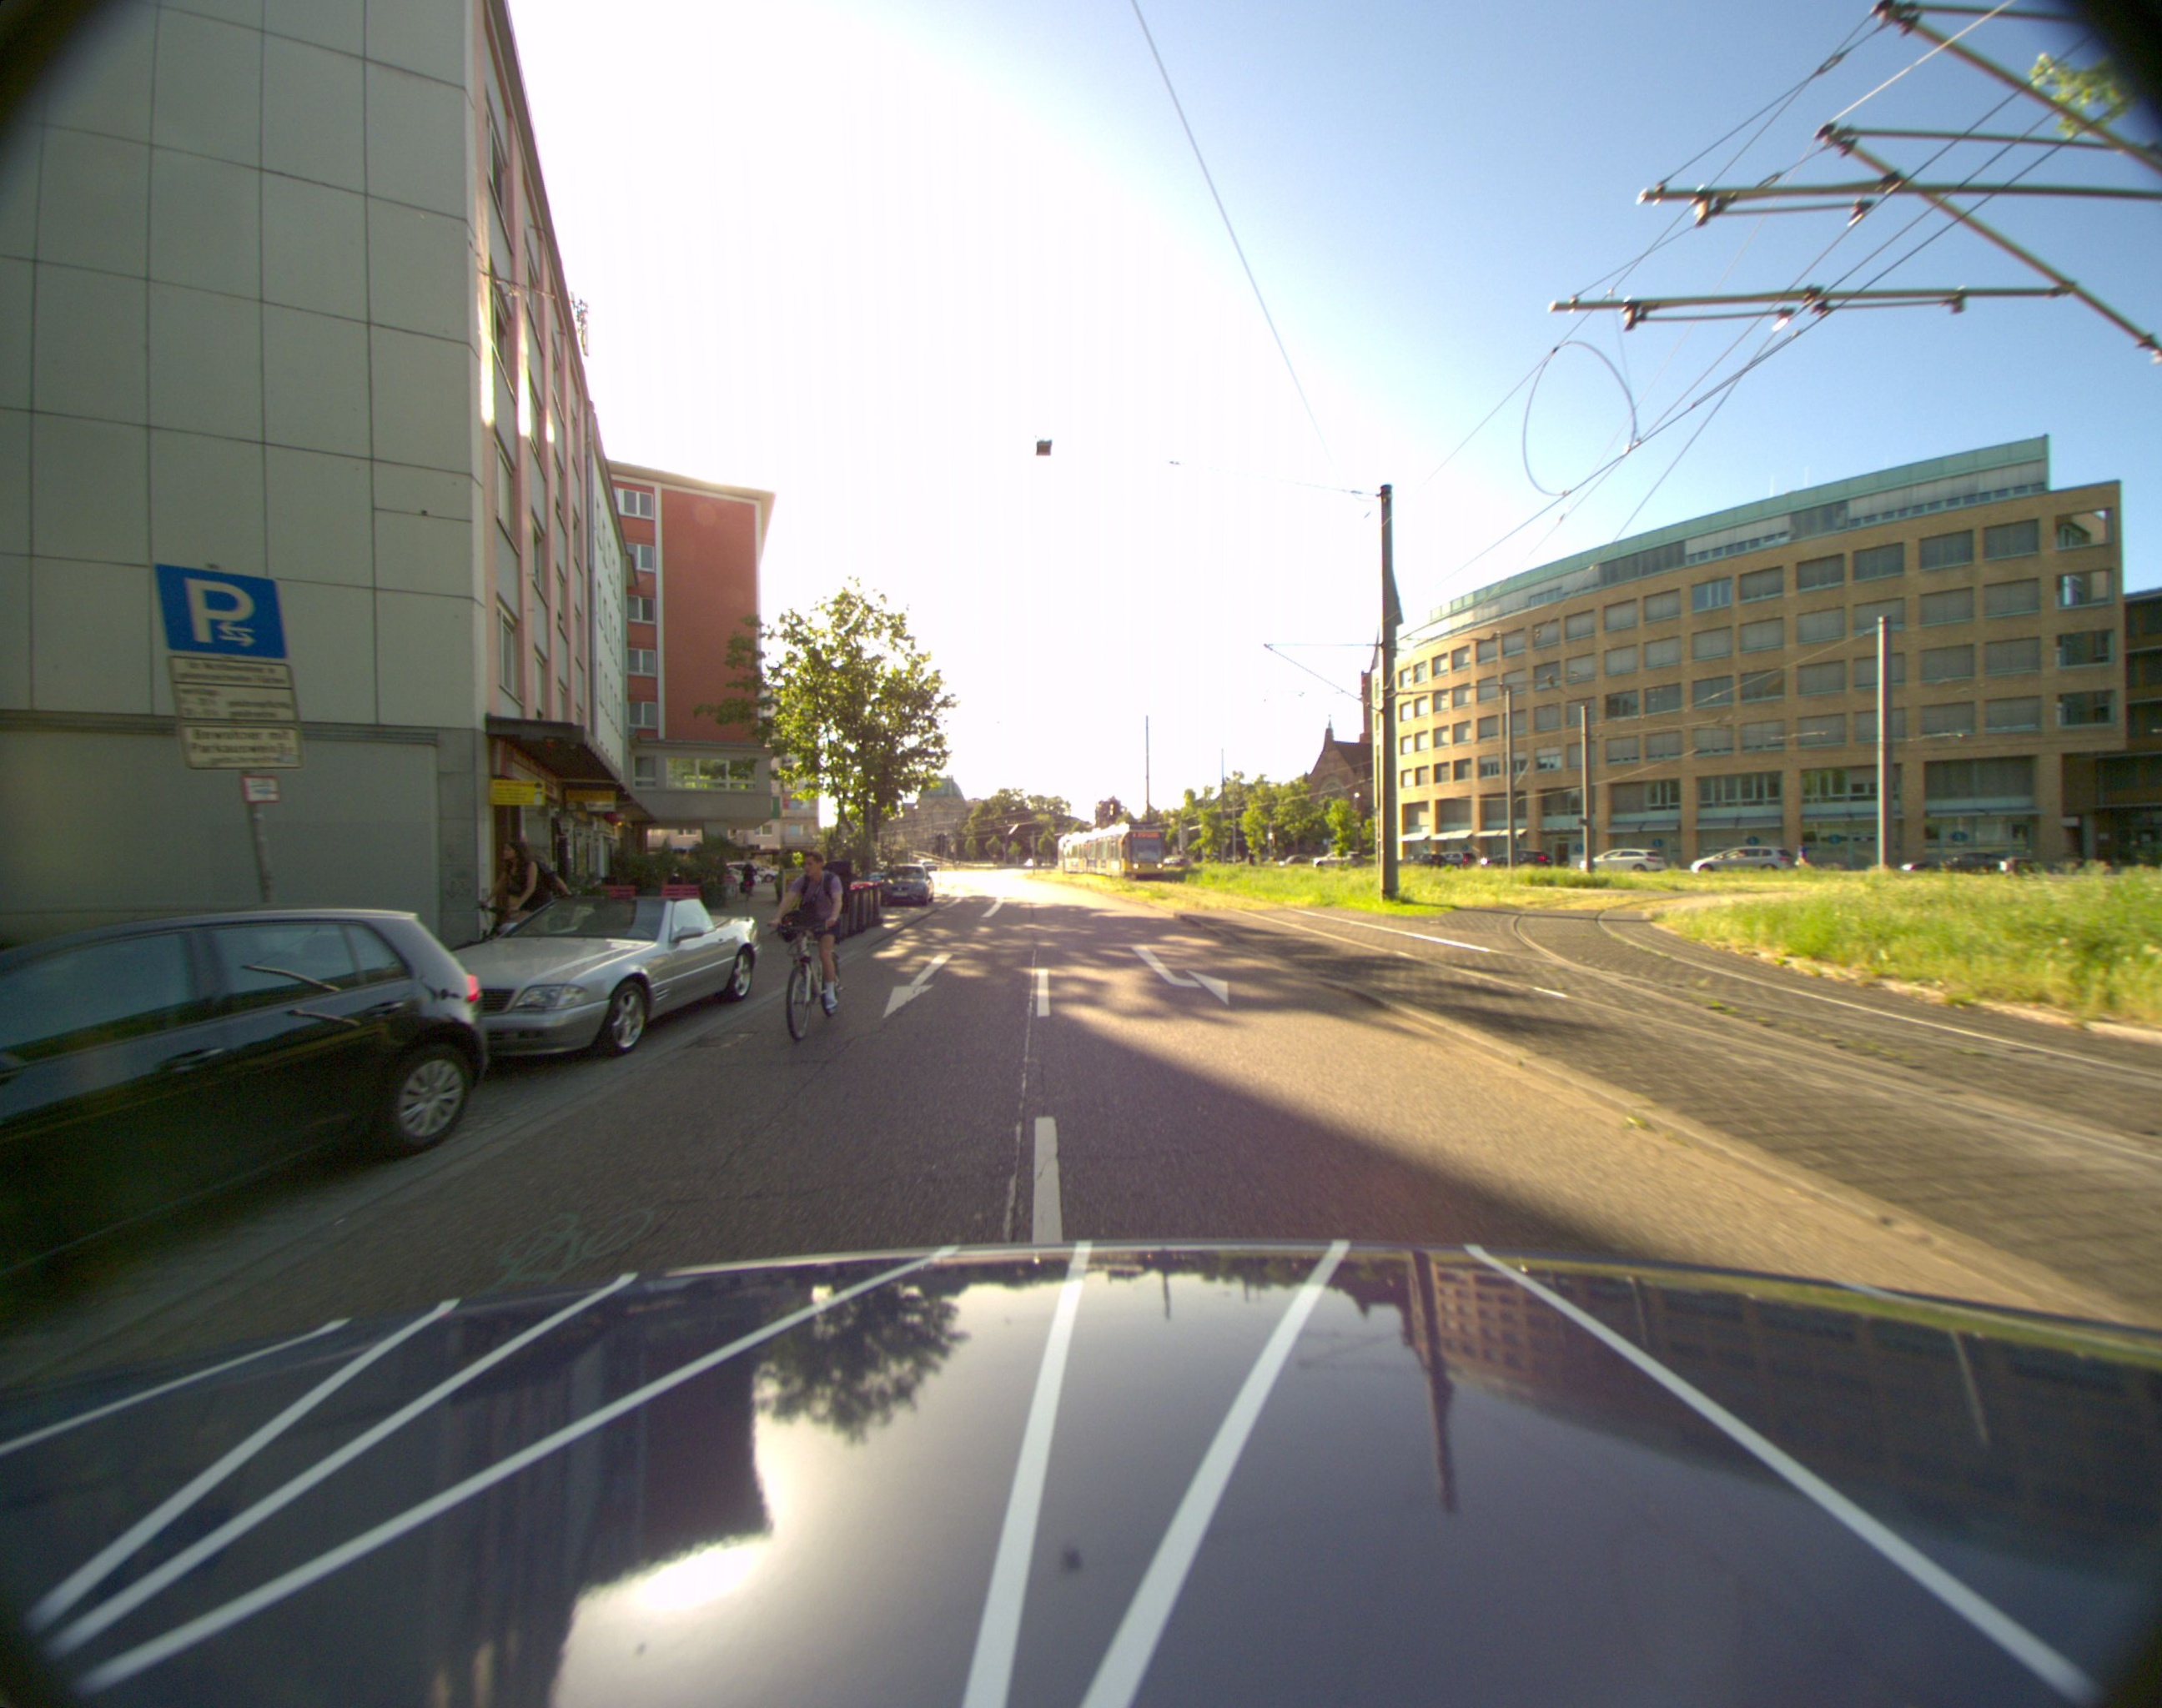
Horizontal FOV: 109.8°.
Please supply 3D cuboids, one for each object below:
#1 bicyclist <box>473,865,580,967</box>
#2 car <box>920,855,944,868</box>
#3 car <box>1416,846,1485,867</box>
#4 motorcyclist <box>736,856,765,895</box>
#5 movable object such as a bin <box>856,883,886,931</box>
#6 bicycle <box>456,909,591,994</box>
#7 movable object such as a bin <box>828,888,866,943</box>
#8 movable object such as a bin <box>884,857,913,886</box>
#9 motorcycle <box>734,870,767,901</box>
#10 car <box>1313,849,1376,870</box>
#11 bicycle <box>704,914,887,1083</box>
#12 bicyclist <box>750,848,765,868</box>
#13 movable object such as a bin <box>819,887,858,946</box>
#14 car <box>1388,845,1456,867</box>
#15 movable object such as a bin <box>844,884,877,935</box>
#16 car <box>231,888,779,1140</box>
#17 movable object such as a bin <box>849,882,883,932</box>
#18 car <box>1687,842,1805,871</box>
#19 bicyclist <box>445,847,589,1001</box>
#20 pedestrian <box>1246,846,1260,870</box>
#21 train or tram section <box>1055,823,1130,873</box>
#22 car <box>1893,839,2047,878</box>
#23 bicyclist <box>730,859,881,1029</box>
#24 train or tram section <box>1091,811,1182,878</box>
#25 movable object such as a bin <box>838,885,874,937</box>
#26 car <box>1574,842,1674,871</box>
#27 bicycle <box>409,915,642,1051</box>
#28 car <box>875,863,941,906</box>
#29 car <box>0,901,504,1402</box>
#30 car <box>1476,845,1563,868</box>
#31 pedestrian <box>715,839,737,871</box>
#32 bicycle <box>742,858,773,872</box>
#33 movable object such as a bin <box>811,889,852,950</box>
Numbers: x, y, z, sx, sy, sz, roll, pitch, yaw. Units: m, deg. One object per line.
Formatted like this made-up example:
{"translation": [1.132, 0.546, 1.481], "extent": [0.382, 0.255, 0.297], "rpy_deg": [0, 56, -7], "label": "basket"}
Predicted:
{"translation": [-7.849, 0.842, 10.812], "extent": [0.760, 1.319, 0.993], "rpy_deg": [-3, 2, -6], "label": "bicyclist"}
{"translation": [-19.939, 0.966, 101.531], "extent": [2.002, 1.528, 4.346], "rpy_deg": [-3, 2, -27], "label": "car"}
{"translation": [32.364, 0.198, 66.765], "extent": [2.127, 1.659, 5.199], "rpy_deg": [-3, 2, -27], "label": "car"}
{"translation": [-13.904, 0.894, 31.946], "extent": [0.900, 1.542, 0.805], "rpy_deg": [-3, 2, -12], "label": "motorcyclist"}
{"translation": [-5.045, 1.256, 18.280], "extent": [0.575, 1.076, 0.570], "rpy_deg": [-3, 2, -6], "label": "movable object such as a bin"}
{"translation": [-7.848, 1.332, 10.822], "extent": [0.536, 0.886, 2.068], "rpy_deg": [-3, 1, -6], "label": "bicycle"}
{"translation": [-4.871, 1.262, 15.817], "extent": [0.606, 1.063, 0.545], "rpy_deg": [-3, 2, -6], "label": "movable object such as a bin"}
{"translation": [-9.308, 0.894, 38.739], "extent": [1.284, 1.383, 0.921], "rpy_deg": [-3, 2, -9], "label": "movable object such as a bin"}
{"translation": [-13.868, 1.300, 31.902], "extent": [0.778, 1.120, 2.295], "rpy_deg": [-3, 1, -12], "label": "motorcycle"}
{"translation": [23.128, 0.518, 66.803], "extent": [2.110, 1.724, 5.074], "rpy_deg": [-2, 0, -29], "label": "car"}
{"translation": [-2.628, 1.275, 7.352], "extent": [0.888, 1.129, 2.228], "rpy_deg": [-3, 1, -1], "label": "bicycle"}
{"translation": [-26.316, 0.336, 61.777], "extent": [0.937, 1.551, 0.939], "rpy_deg": [-3, 2, -29], "label": "bicyclist"}
{"translation": [-4.857, 1.239, 15.248], "extent": [0.612, 1.099, 0.525], "rpy_deg": [-3, 2, -6], "label": "movable object such as a bin"}
{"translation": [26.784, 0.146, 59.832], "extent": [2.003, 1.508, 4.651], "rpy_deg": [-3, 2, -28], "label": "car"}
{"translation": [-4.951, 1.237, 17.083], "extent": [0.593, 1.063, 0.495], "rpy_deg": [-3, 2, -6], "label": "movable object such as a bin"}
{"translation": [-4.836, 1.202, 7.490], "extent": [1.856, 1.336, 4.598], "rpy_deg": [-3, 1, 0], "label": "car"}
{"translation": [-4.985, 1.222, 17.661], "extent": [0.621, 1.063, 0.610], "rpy_deg": [-3, 2, -6], "label": "movable object such as a bin"}
{"translation": [36.565, 0.135, 41.912], "extent": [2.003, 1.419, 4.499], "rpy_deg": [-3, 2, -32], "label": "car"}
{"translation": [-6.465, 0.759, 8.742], "extent": [0.940, 1.624, 0.937], "rpy_deg": [-2, 2, 29], "label": "bicyclist"}
{"translation": [12.200, 0.284, 53.946], "extent": [0.736, 1.661, 0.744], "rpy_deg": [-2, 1, -10], "label": "pedestrian"}
{"translation": [0.655, -0.420, 62.995], "extent": [2.960, 3.591, 13.619], "rpy_deg": [-2, 0, -13], "label": "train or tram section"}
{"translation": [40.579, 0.141, 34.810], "extent": [2.003, 1.505, 4.270], "rpy_deg": [-2, 4, -32], "label": "car"}
{"translation": [-2.636, 0.824, 7.417], "extent": [1.040, 1.475, 0.988], "rpy_deg": [-3, 2, -1], "label": "bicyclist"}
{"translation": [3.221, -0.521, 49.238], "extent": [2.958, 3.664, 13.174], "rpy_deg": [-2, 0, -8], "label": "train or tram section"}
{"translation": [-4.881, 1.227, 16.498], "extent": [0.608, 1.063, 0.613], "rpy_deg": [-3, 2, -7], "label": "movable object such as a bin"}
{"translation": [33.723, 0.134, 47.295], "extent": [2.003, 1.587, 4.645], "rpy_deg": [-3, 2, -29], "label": "car"}
{"translation": [-6.380, 1.411, 8.874], "extent": [0.820, 1.178, 1.967], "rpy_deg": [-2, 2, 28], "label": "bicycle"}
{"translation": [-6.335, 1.059, 28.240], "extent": [1.771, 1.430, 4.581], "rpy_deg": [-1, 0, -5], "label": "car"}
{"translation": [-4.525, 1.133, 2.702], "extent": [1.675, 1.510, 4.198], "rpy_deg": [-3, 1, -1], "label": "car"}
{"translation": [30.646, 0.130, 53.257], "extent": [2.002, 1.439, 5.009], "rpy_deg": [-3, 2, -25], "label": "car"}
{"translation": [-20.898, 0.073, 44.698], "extent": [0.828, 1.834, 0.891], "rpy_deg": [-3, 2, -5], "label": "pedestrian"}
{"translation": [-26.290, 0.856, 61.789], "extent": [2.151, 0.995, 0.859], "rpy_deg": [-3, 2, -29], "label": "bicycle"}
{"translation": [-4.805, 1.247, 14.657], "extent": [0.594, 1.077, 0.604], "rpy_deg": [-3, 2, -6], "label": "movable object such as a bin"}
